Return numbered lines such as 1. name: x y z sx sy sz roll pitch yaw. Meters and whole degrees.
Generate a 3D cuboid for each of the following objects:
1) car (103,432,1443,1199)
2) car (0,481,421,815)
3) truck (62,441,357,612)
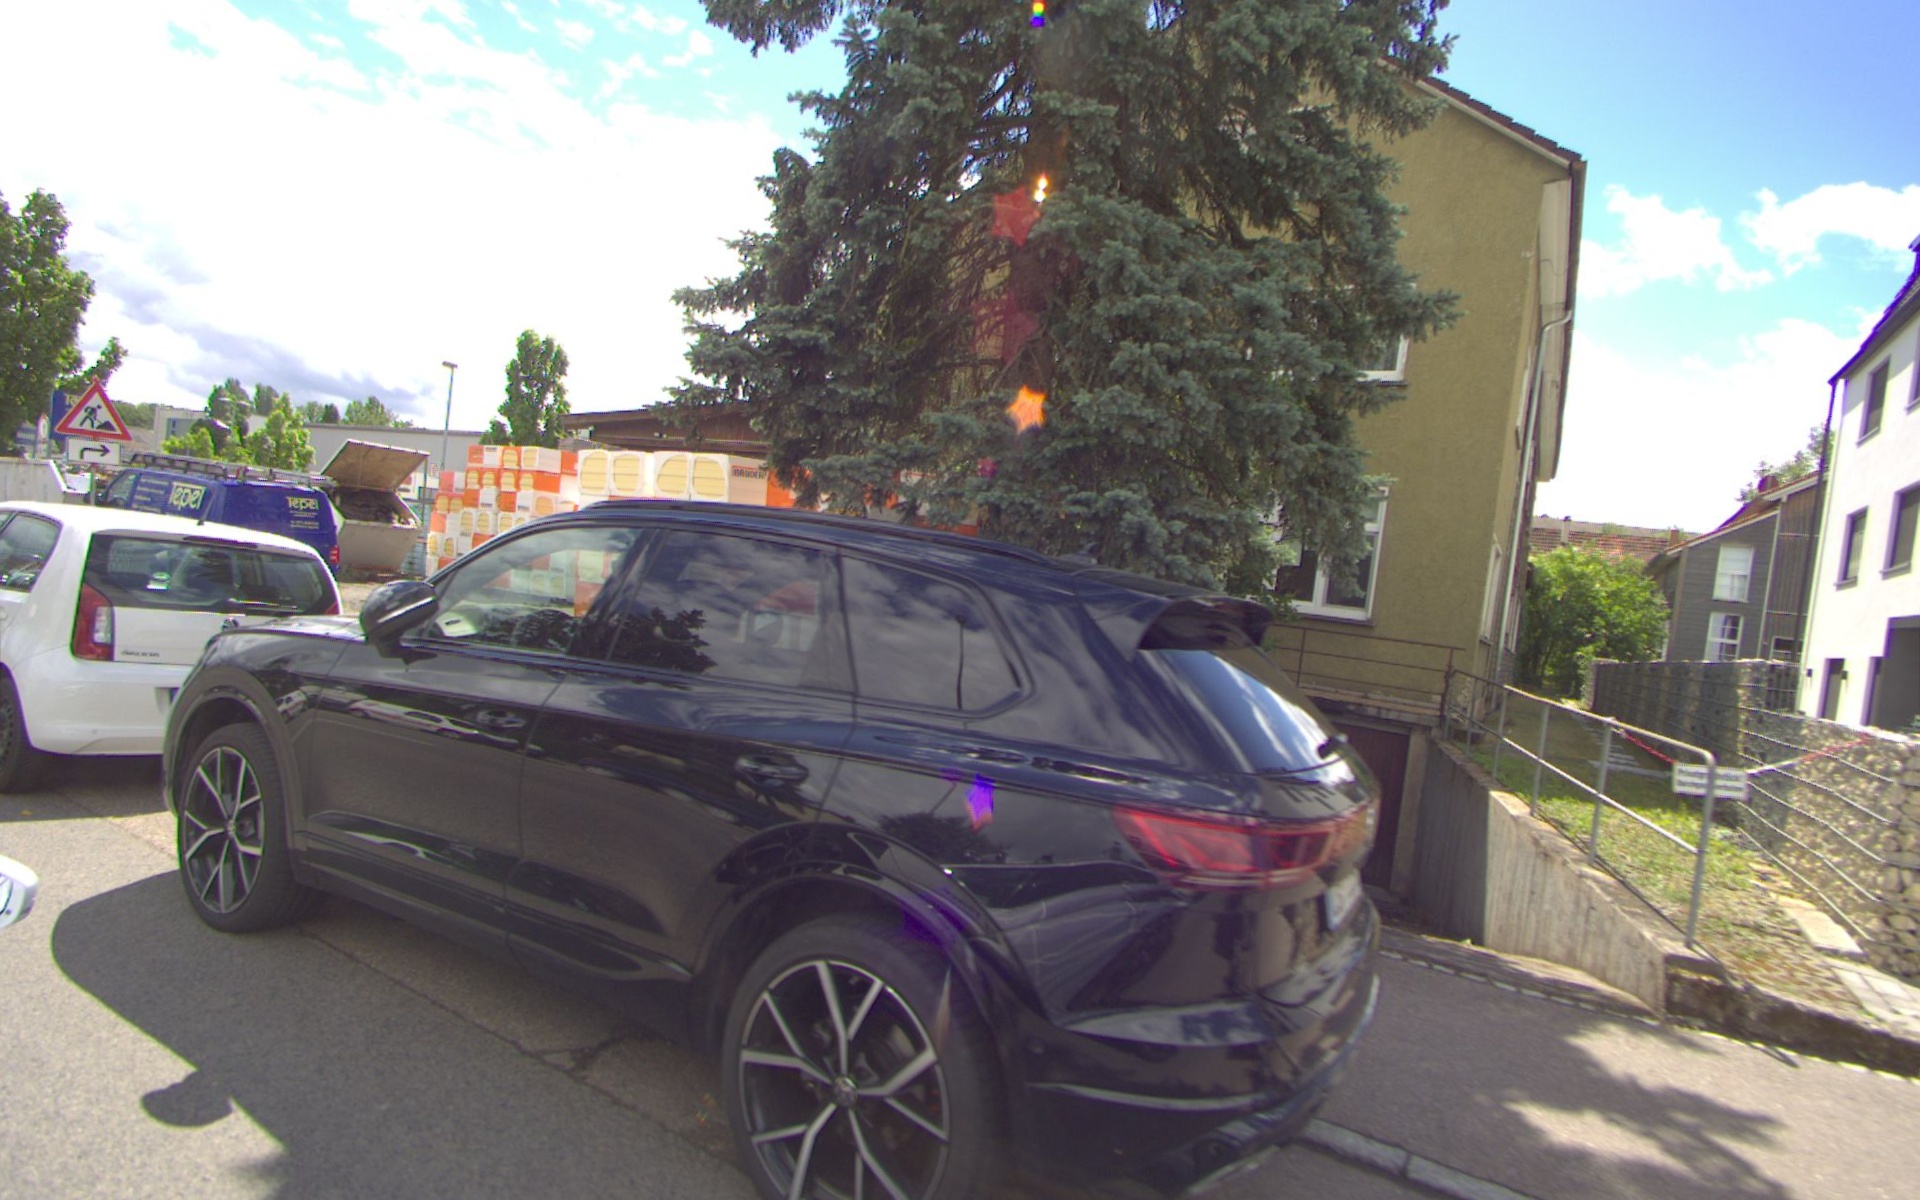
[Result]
1. car: -0.937 0.486 3.711 4.633 1.749 1.875 7 1 30
2. car: -5.504 0.086 6.466 3.933 1.527 1.774 7 1 31
3. truck: -11.974 -1.203 15.919 5.294 2.111 1.829 8 5 31
